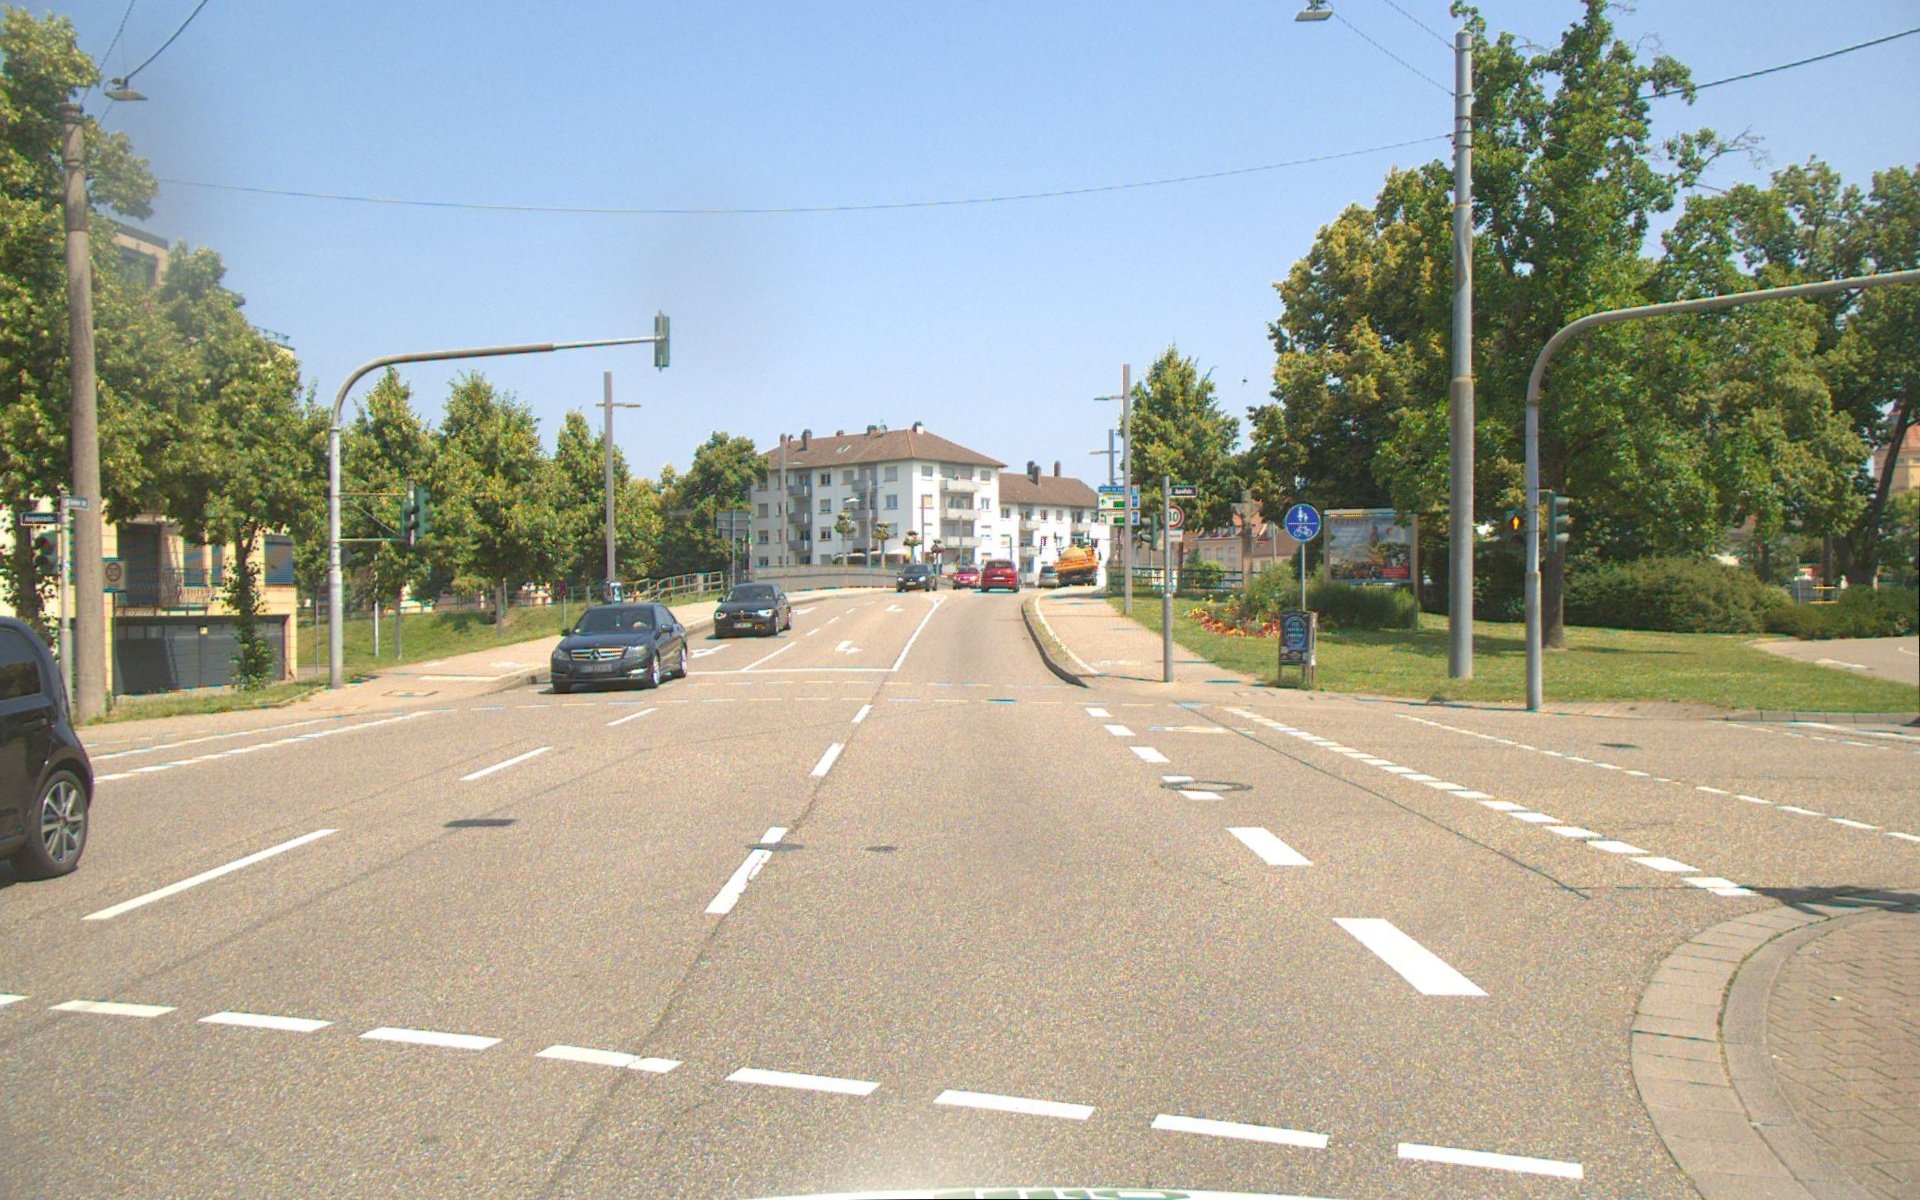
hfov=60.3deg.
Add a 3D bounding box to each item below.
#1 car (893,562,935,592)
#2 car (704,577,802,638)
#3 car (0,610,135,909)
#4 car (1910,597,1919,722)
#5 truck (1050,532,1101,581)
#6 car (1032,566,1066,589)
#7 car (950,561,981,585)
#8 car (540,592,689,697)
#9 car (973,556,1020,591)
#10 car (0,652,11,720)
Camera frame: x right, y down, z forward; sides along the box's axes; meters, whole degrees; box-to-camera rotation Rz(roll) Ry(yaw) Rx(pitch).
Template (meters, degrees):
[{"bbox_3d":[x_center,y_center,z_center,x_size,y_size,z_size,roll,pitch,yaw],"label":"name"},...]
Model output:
[{"bbox_3d":[-2.445,-1.222,88.498,1.677,1.511,4.034,1,0,6],"label":"car"},{"bbox_3d":[-5.799,0.177,46.740,1.798,1.423,4.053,-5,2,6],"label":"car"},{"bbox_3d":[-5.632,0.833,7.910,1.583,1.481,3.709,-1,1,-2],"label":"car"},{"bbox_3d":[15.012,0.793,22.906,4.779,1.661,1.888,1,-1,-43],"label":"car"},{"bbox_3d":[6.818,-2.533,96.858,2.550,2.738,5.828,-1,1,8],"label":"truck"},{"bbox_3d":[6.236,-1.546,115.516,1.995,1.529,4.421,1,0,7],"label":"car"},{"bbox_3d":[0.389,-1.735,107.947,1.612,1.490,3.864,0,0,7],"label":"car"},{"bbox_3d":[-5.963,0.709,29.012,1.720,1.587,4.318,-1,1,-1],"label":"car"},{"bbox_3d":[1.824,-1.296,81.631,1.948,1.641,4.345,-1,0,5],"label":"car"},{"bbox_3d":[-22.112,1.940,34.466,1.738,1.457,4.433,1,1,7],"label":"car"}]
